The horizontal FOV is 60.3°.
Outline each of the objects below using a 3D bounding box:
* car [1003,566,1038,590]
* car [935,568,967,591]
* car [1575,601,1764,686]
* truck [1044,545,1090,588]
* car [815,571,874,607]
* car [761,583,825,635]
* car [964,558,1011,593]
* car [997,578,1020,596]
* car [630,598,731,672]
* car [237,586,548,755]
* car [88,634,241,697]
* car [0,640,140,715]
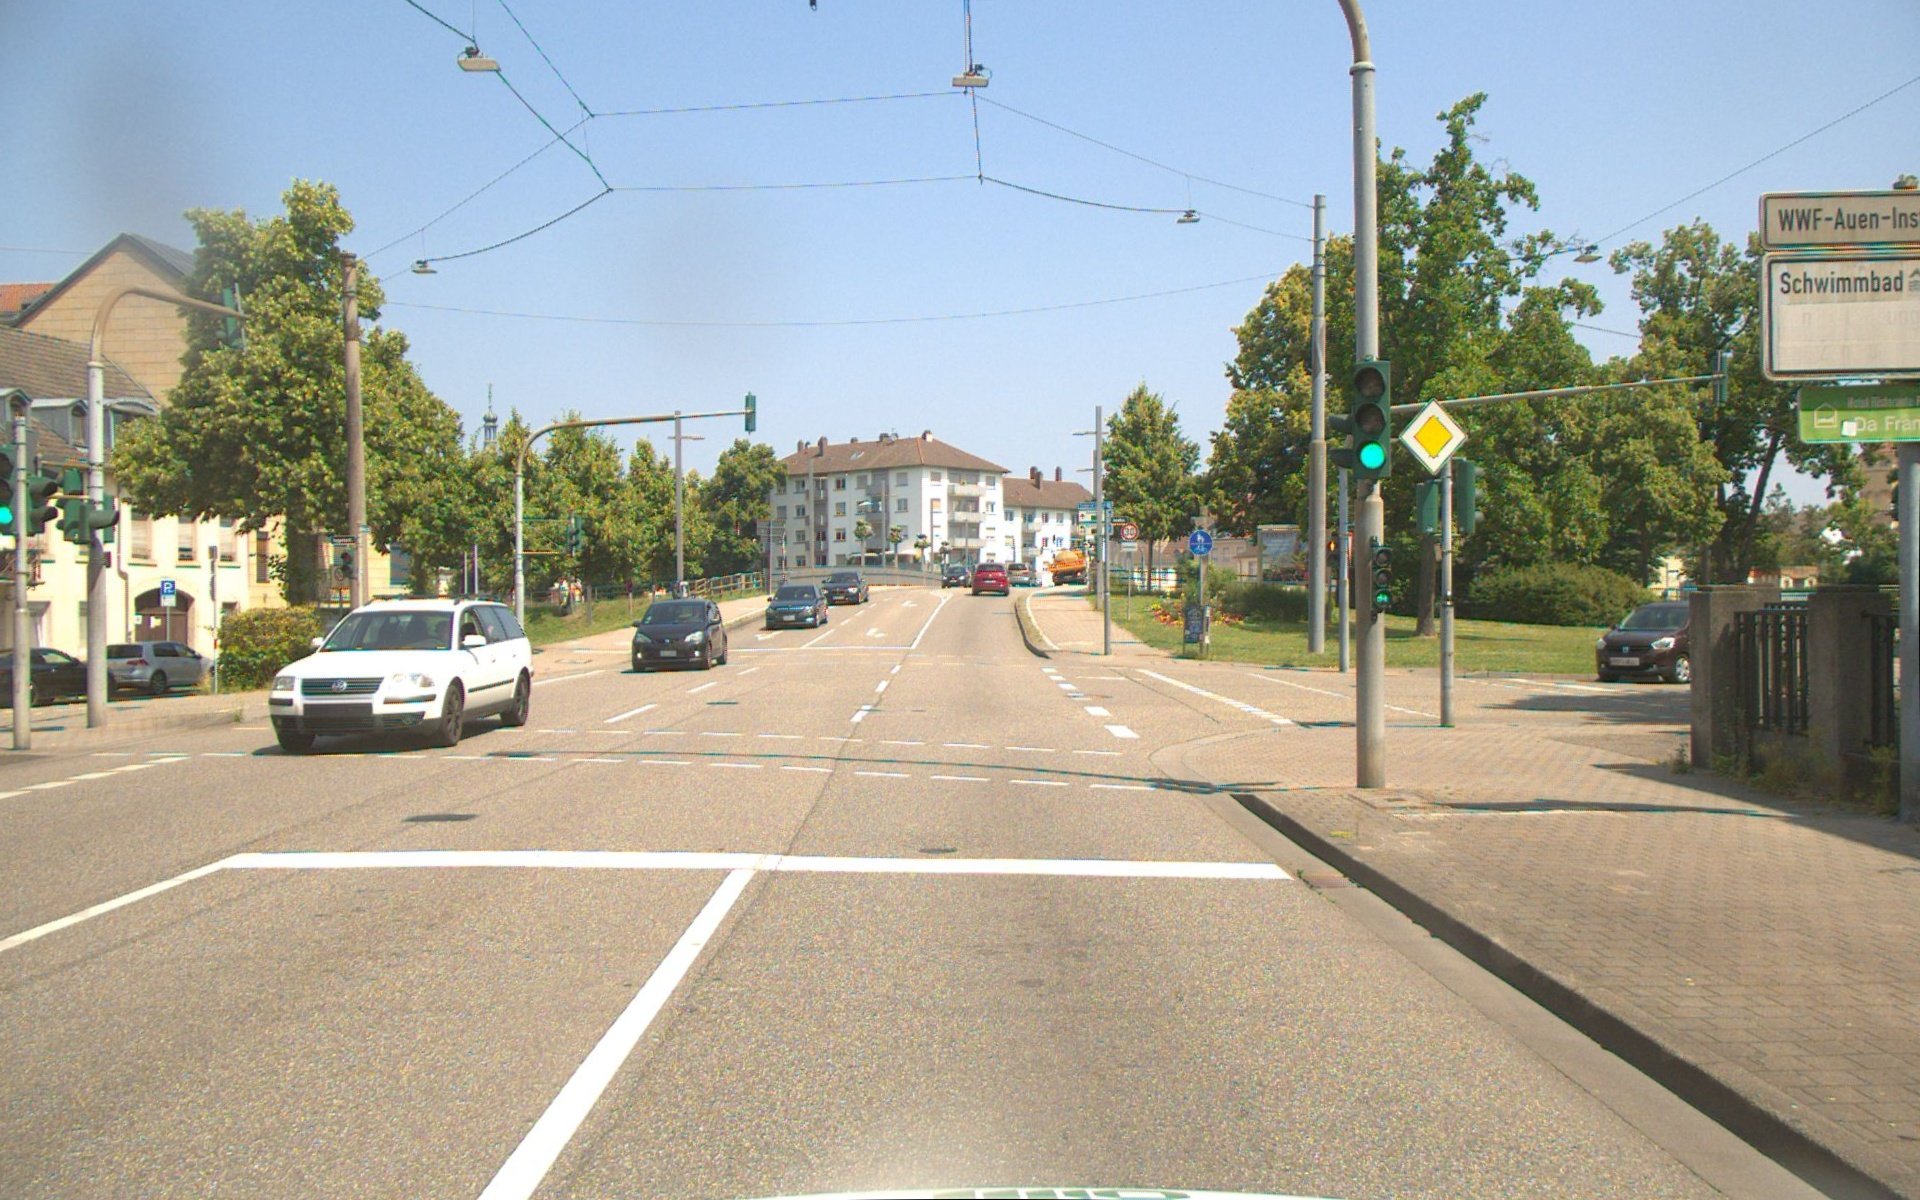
[{"bbox_3d":[4.194,-1.515,113.965,1.995,1.529,4.420,1,0,7],"label":"car"},{"bbox_3d":[-0.569,-1.379,113.343,1.677,1.511,4.034,1,0,7],"label":"car"},{"bbox_3d":[14.968,0.898,34.772,4.778,1.661,1.888,1,-1,-43],"label":"car"},{"bbox_3d":[7.061,-2.169,108.769,2.550,2.738,5.828,-1,0,8],"label":"truck"},{"bbox_3d":[-5.056,-0.481,72.893,1.797,1.423,4.053,-4,0,7],"label":"car"},{"bbox_3d":[-5.669,0.273,56.524,1.720,1.587,4.317,-3,1,-1],"label":"car"},{"bbox_3d":[1.381,-1.196,81.926,1.948,1.641,4.345,-1,0,5],"label":"car"},{"bbox_3d":[4.326,-1.154,146.668,1.677,1.511,4.034,1,0,7],"label":"car"},{"bbox_3d":[-5.925,0.719,35.416,1.583,1.481,3.709,0,0,-1],"label":"car"},{"bbox_3d":[-5.892,0.668,17.809,1.778,1.545,4.630,-1,0,-1],"label":"car"},{"bbox_3d":[-22.263,1.804,46.486,1.738,1.457,4.433,1,1,7],"label":"car"},{"bbox_3d":[-22.895,1.910,41.171,1.776,1.657,5.290,-3,-1,7],"label":"car"}]
